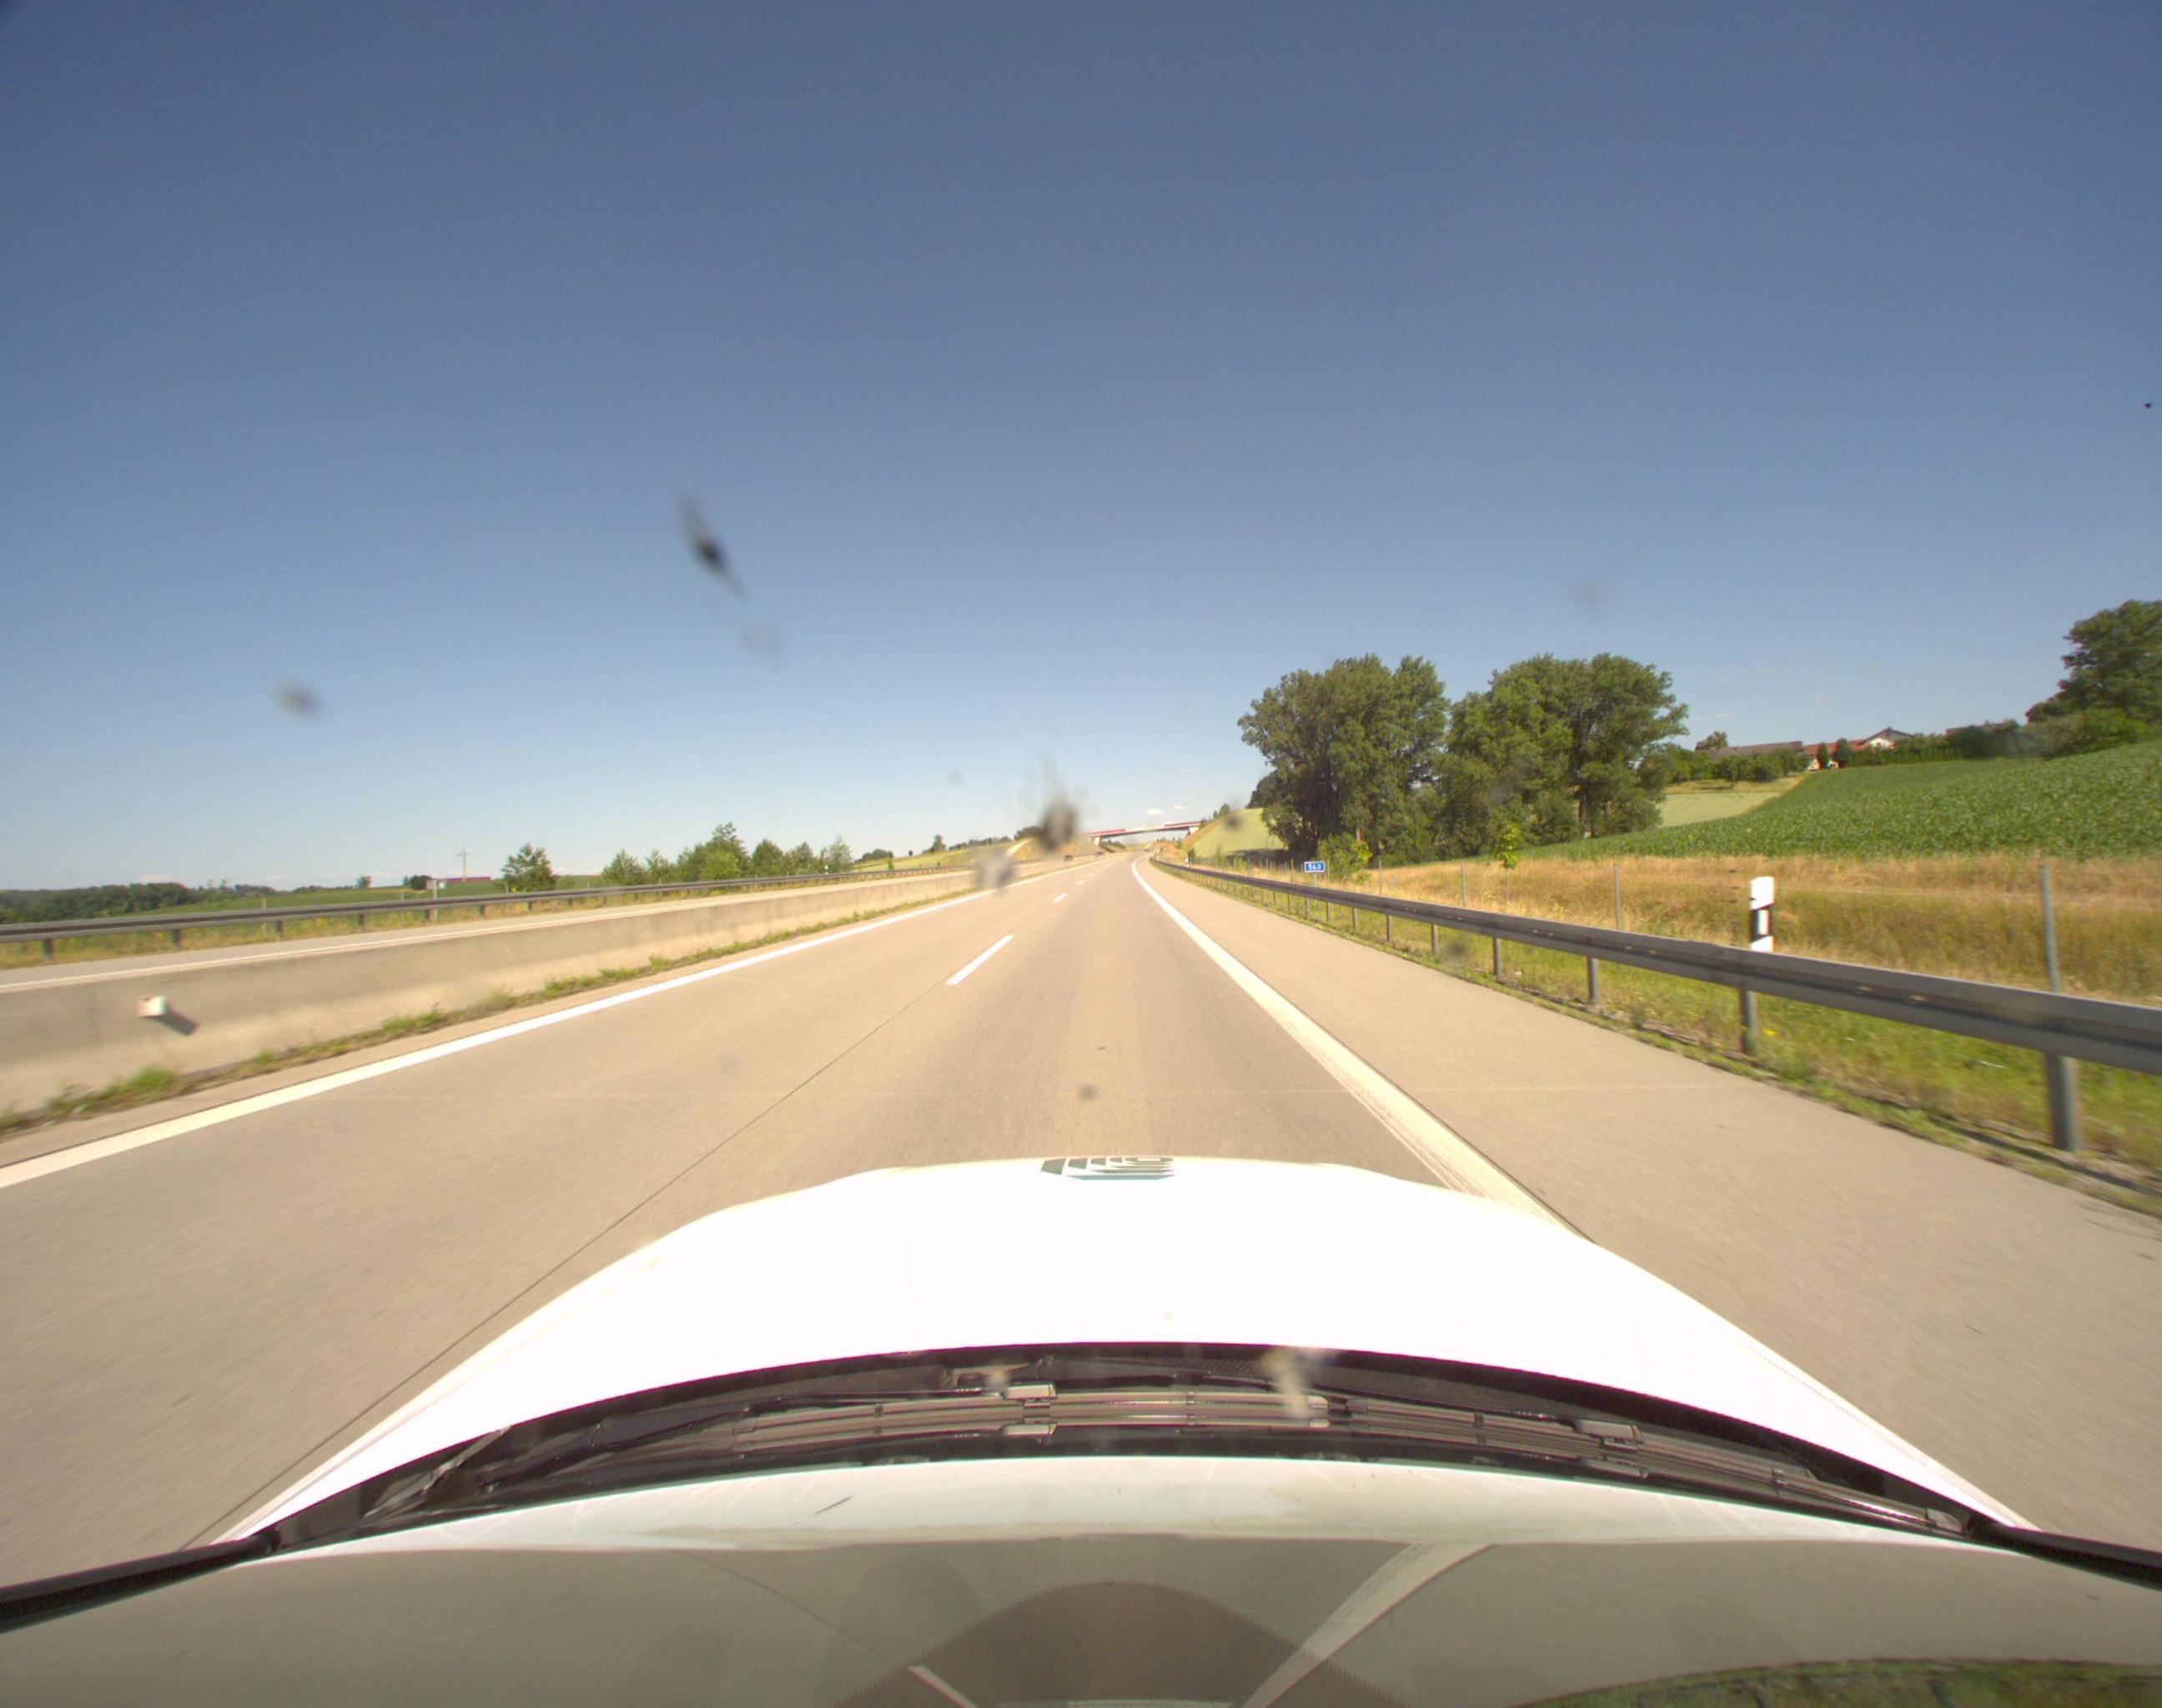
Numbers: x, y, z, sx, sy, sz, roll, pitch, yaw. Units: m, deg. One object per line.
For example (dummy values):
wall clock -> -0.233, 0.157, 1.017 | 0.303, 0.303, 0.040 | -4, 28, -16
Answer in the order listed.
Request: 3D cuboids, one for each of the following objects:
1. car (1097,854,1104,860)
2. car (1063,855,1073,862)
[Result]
car -> 5.858, 0.874, 241.943 | 1.804, 1.615, 4.683 | 0, -1, 5
car -> -2.808, 0.953, 180.272 | 1.805, 1.456, 4.516 | 0, -1, 4
